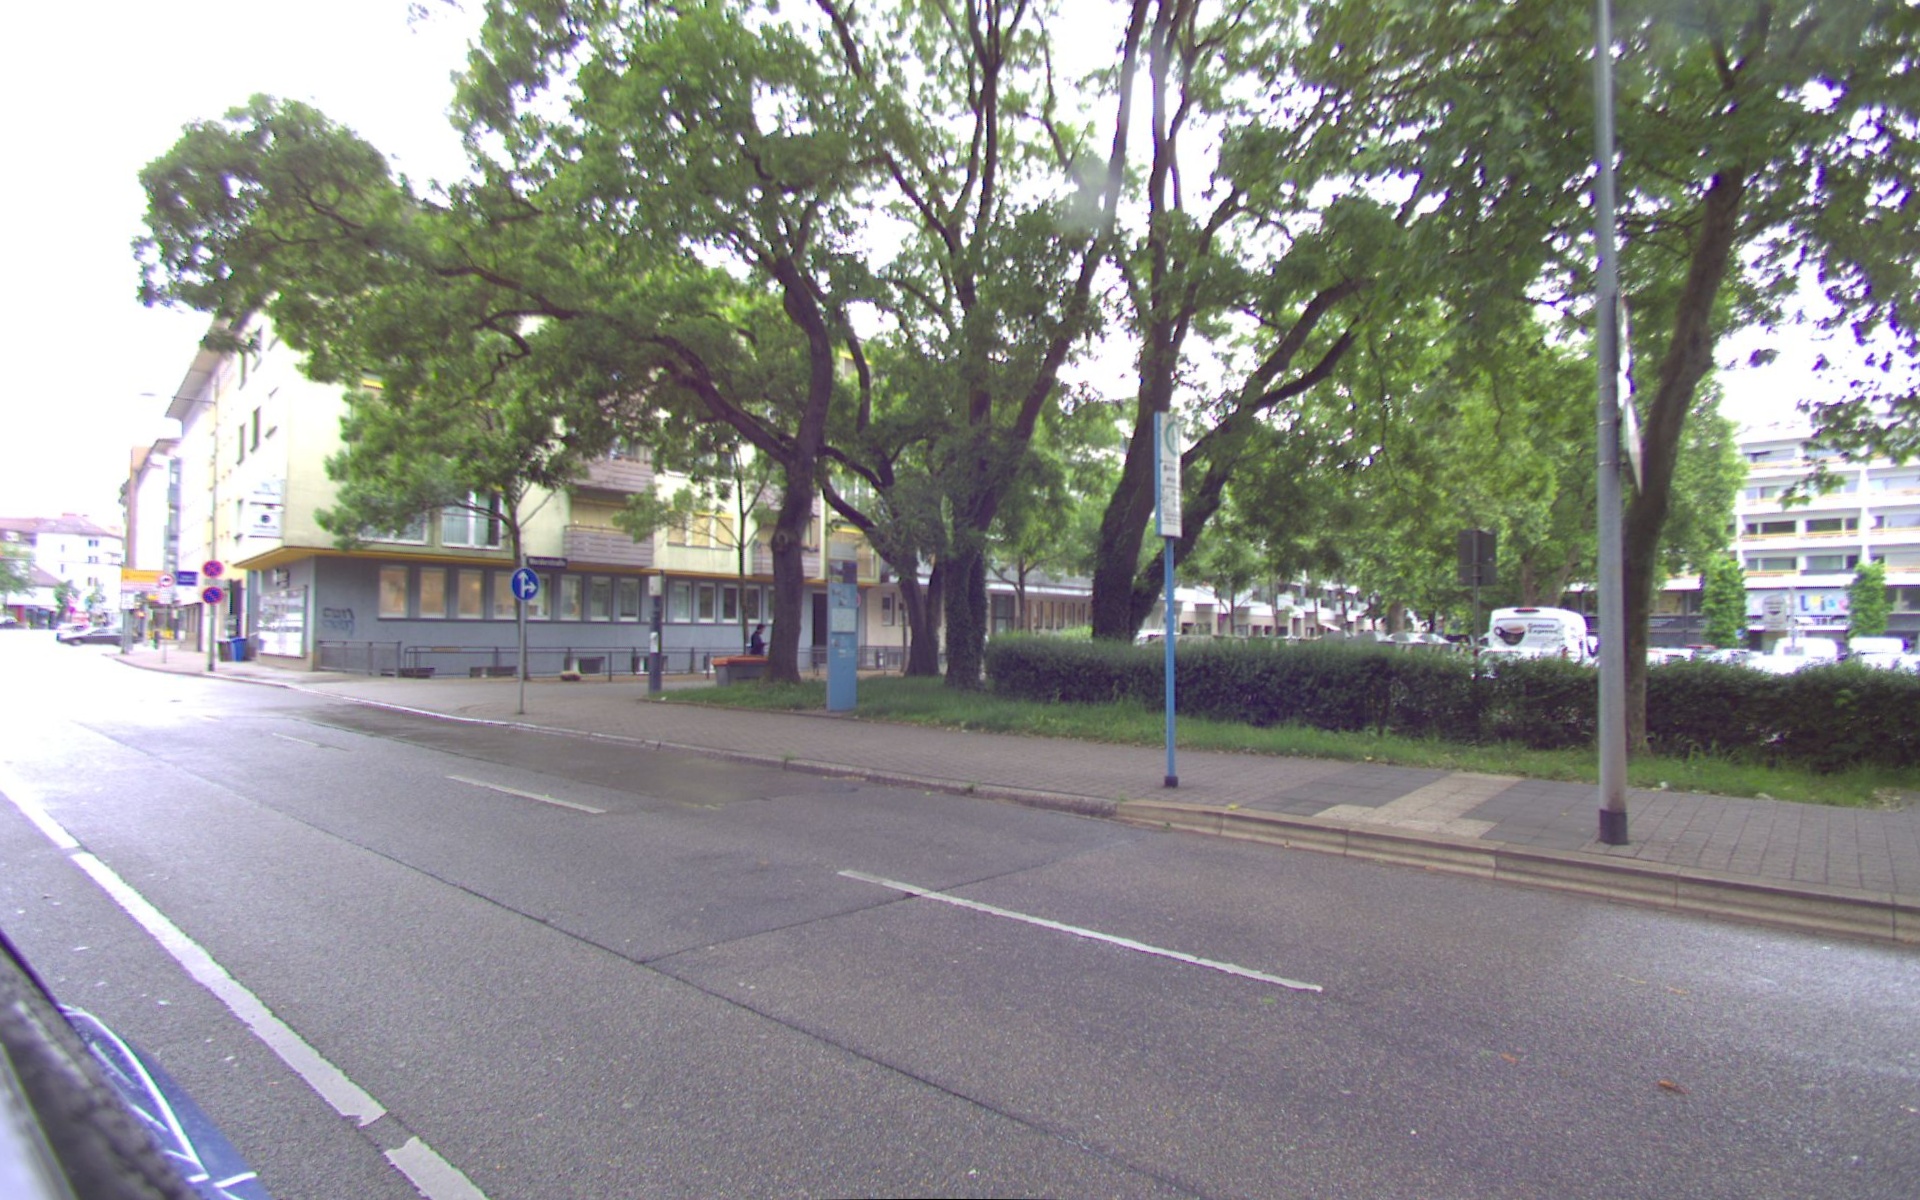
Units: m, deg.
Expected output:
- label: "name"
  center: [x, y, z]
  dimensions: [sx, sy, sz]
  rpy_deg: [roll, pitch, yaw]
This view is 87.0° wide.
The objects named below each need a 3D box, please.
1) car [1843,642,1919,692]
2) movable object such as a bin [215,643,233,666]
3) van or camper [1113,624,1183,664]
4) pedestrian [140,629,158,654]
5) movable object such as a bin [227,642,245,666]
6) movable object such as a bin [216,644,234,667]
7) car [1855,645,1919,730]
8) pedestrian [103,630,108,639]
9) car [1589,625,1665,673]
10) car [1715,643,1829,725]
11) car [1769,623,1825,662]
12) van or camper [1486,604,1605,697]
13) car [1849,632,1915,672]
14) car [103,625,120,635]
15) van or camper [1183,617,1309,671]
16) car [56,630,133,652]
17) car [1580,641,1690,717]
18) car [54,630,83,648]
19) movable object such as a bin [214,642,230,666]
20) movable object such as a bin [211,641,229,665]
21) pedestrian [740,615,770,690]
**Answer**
- label: "car"
  center: [33.573, 2.386, 36.892]
  dimensions: [1.895, 1.497, 3.948]
  rpy_deg: [-1, 0, 39]
- label: "movable object such as a bin"
  center: [-30.818, 2.275, 42.385]
  dimensions: [0.521, 0.935, 0.426]
  rpy_deg: [-3, 1, -42]
- label: "van or camper"
  center: [10.392, 2.417, 55.608]
  dimensions: [1.825, 2.029, 4.576]
  rpy_deg: [1, -2, 38]
- label: "pedestrian"
  center: [-53.796, 2.762, 67.131]
  dimensions: [0.773, 1.600, 0.675]
  rpy_deg: [-1, -1, -29]
- label: "movable object such as a bin"
  center: [-29.905, 2.234, 41.820]
  dimensions: [0.522, 0.968, 0.435]
  rpy_deg: [-3, 1, -42]
- label: "movable object such as a bin"
  center: [-30.493, 2.296, 42.007]
  dimensions: [0.522, 0.902, 0.435]
  rpy_deg: [-3, 1, -42]
- label: "car"
  center: [20.494, 1.811, 21.603]
  dimensions: [1.895, 1.497, 3.948]
  rpy_deg: [-1, 0, 39]
- label: "pedestrian"
  center: [-114.342, 4.608, 135.373]
  dimensions: [0.380, 1.301, 0.394]
  rpy_deg: [-2, -3, 41]
- label: "car"
  center: [24.042, 1.722, 36.437]
  dimensions: [1.895, 1.497, 3.948]
  rpy_deg: [-1, 0, 39]
- label: "car"
  center: [18.597, 1.842, 23.212]
  dimensions: [1.895, 1.497, 3.948]
  rpy_deg: [-1, 0, 39]
- label: "car"
  center: [42.184, 2.089, 51.046]
  dimensions: [2.097, 1.735, 3.948]
  rpy_deg: [-1, 0, 39]
- label: "van or camper"
  center: [16.926, 1.425, 29.170]
  dimensions: [2.099, 2.450, 4.280]
  rpy_deg: [-2, -3, 42]
- label: "car"
  center: [40.540, 2.249, 44.588]
  dimensions: [1.895, 1.497, 3.948]
  rpy_deg: [-1, 0, 39]
- label: "car"
  center: [-127.111, 4.535, 151.628]
  dimensions: [1.567, 1.539, 3.496]
  rpy_deg: [2, -3, -36]
- label: "van or camper"
  center: [14.055, 2.130, 49.255]
  dimensions: [2.561, 2.420, 8.535]
  rpy_deg: [-2, -3, 41]
- label: "car"
  center: [-64.569, 3.084, 75.513]
  dimensions: [1.480, 1.618, 4.142]
  rpy_deg: [-2, -4, 41]
- label: "car"
  center: [16.718, 1.872, 24.996]
  dimensions: [1.895, 1.497, 3.948]
  rpy_deg: [-1, 0, 39]
- label: "car"
  center: [-82.125, 3.609, 93.264]
  dimensions: [1.807, 1.634, 4.007]
  rpy_deg: [2, -3, -39]
- label: "movable object such as a bin"
  center: [-31.208, 2.279, 42.795]
  dimensions: [0.458, 0.935, 0.429]
  rpy_deg: [-3, 1, -42]
- label: "movable object such as a bin"
  center: [-31.663, 2.266, 43.298]
  dimensions: [0.510, 1.008, 0.524]
  rpy_deg: [-3, 1, -42]
- label: "pedestrian"
  center: [-5.596, 1.426, 27.613]
  dimensions: [0.769, 2.029, 0.754]
  rpy_deg: [1, -2, -11]
